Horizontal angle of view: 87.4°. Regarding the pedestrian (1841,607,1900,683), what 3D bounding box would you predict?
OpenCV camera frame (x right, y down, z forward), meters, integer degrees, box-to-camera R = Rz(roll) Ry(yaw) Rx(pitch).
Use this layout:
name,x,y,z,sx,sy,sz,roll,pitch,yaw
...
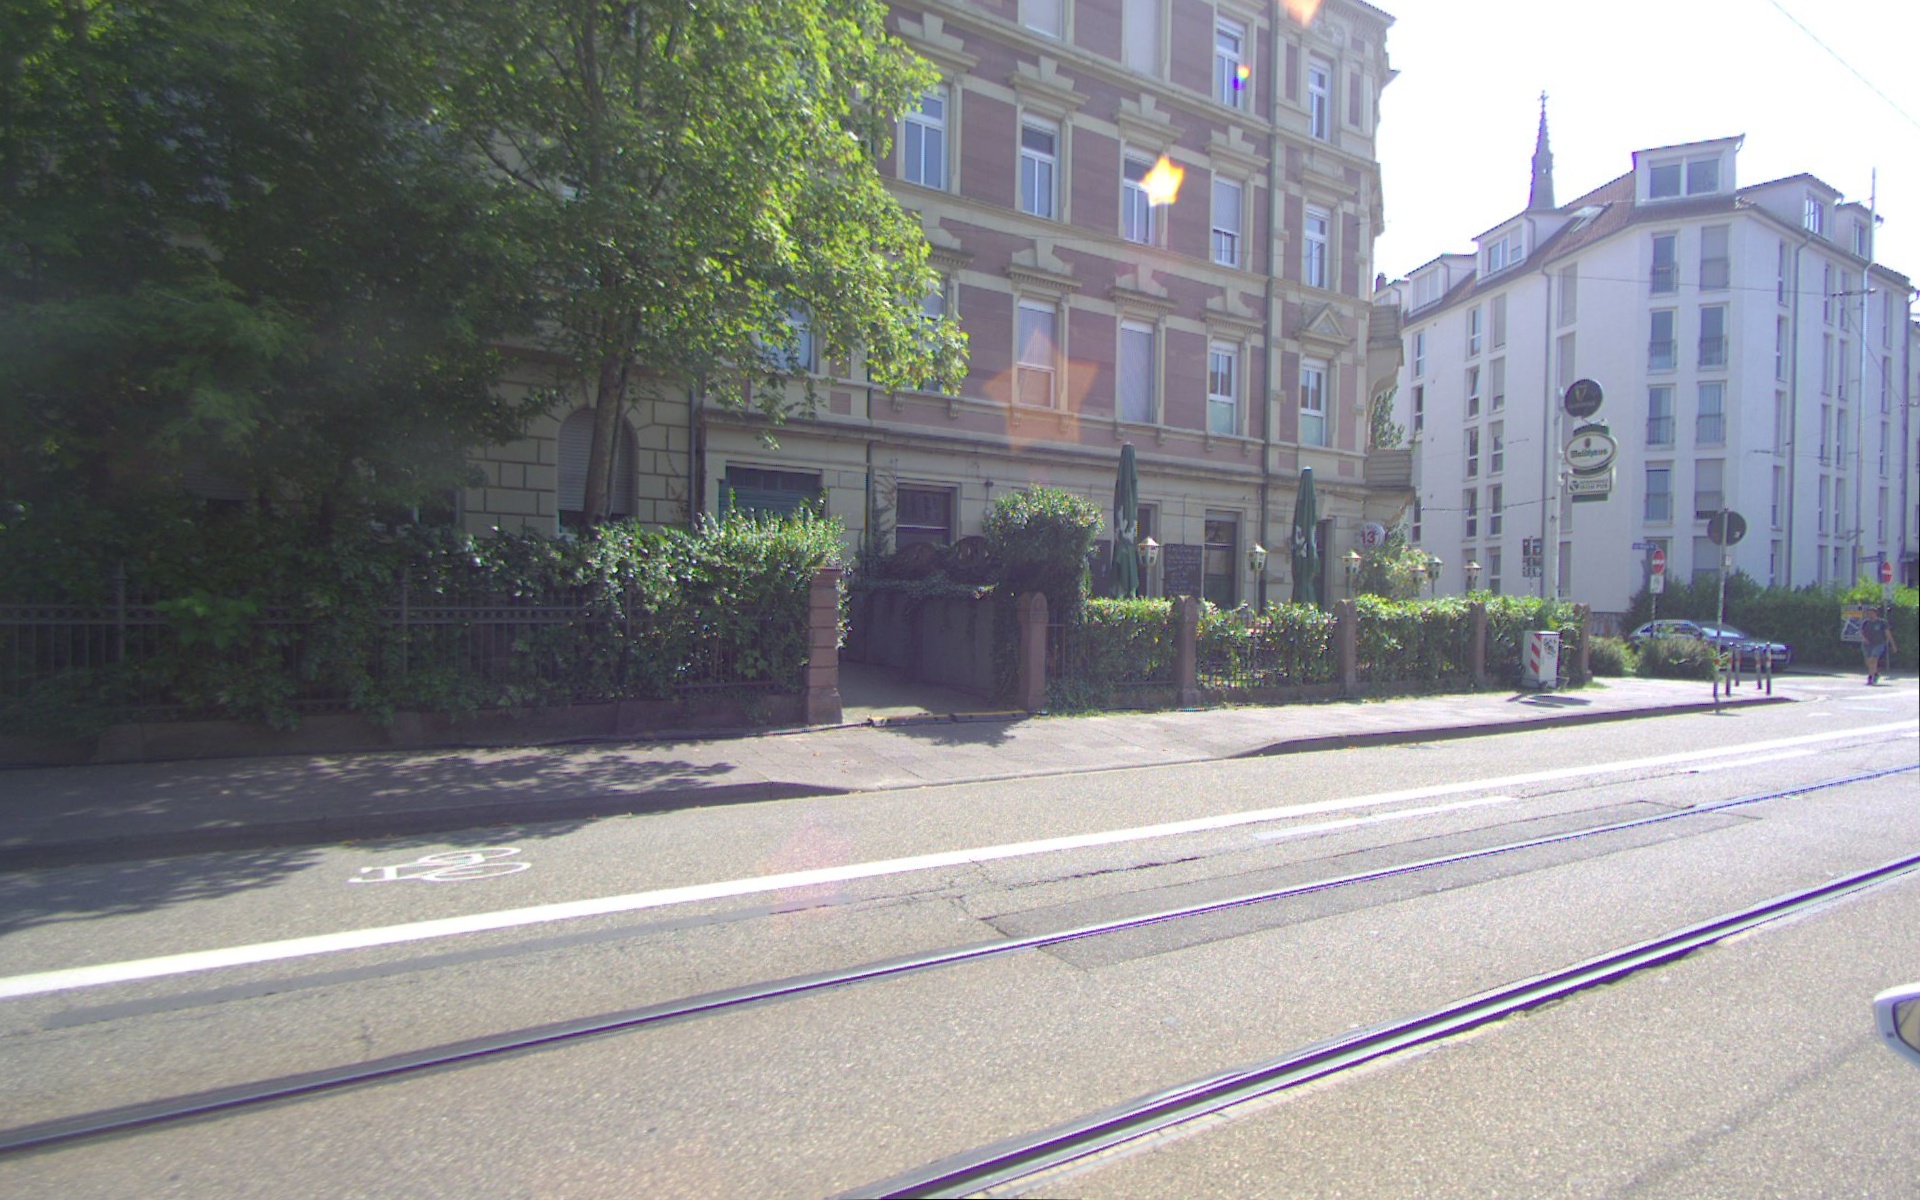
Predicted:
name,x,y,z,sx,sy,sz,roll,pitch,yaw
pedestrian,21.916,1.067,24.178,1.028,1.779,0.776,1,-1,-31

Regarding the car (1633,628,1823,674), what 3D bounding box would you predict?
name,x,y,z,sx,sy,sz,roll,pitch,yaw
car,22.399,1.467,29.519,1.964,1.200,4.236,1,-1,-11
